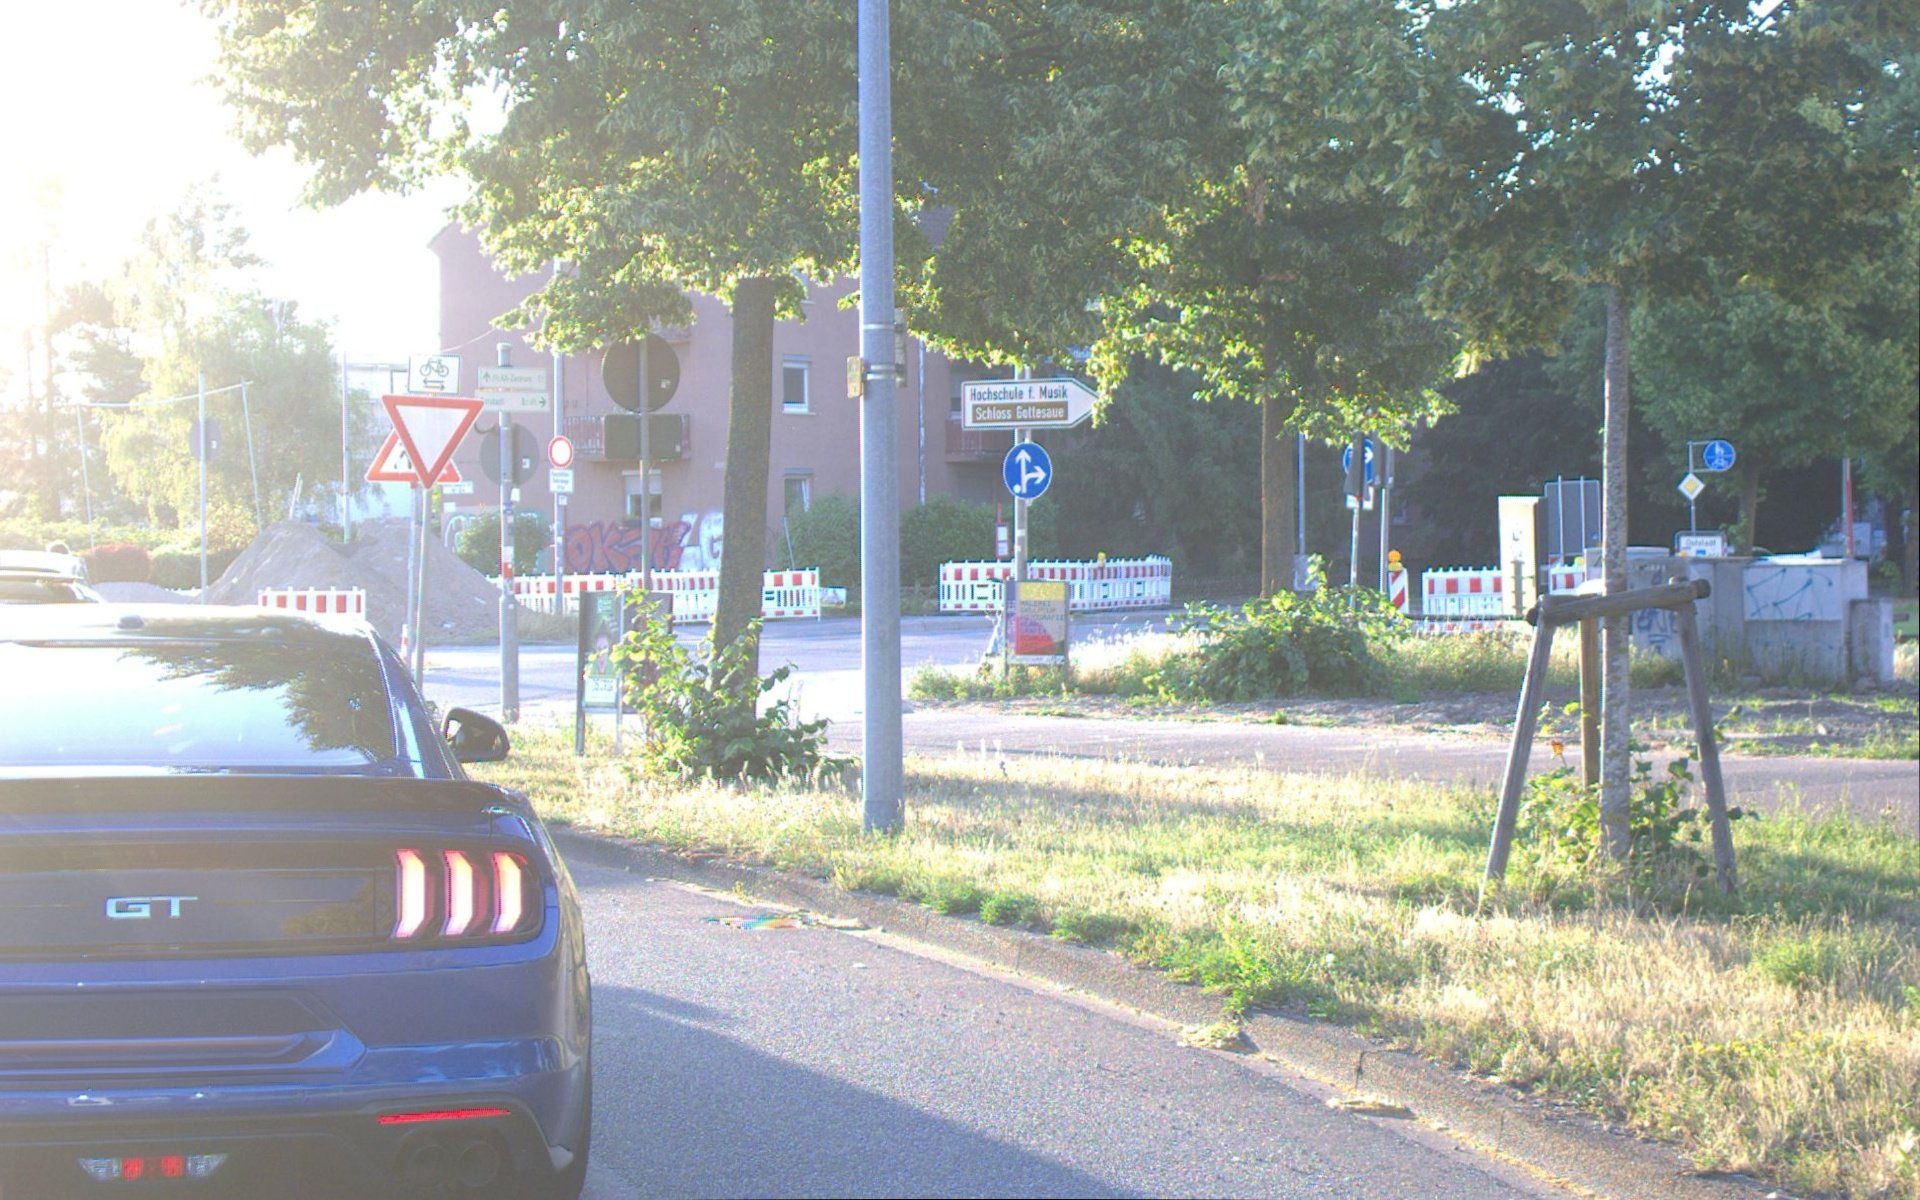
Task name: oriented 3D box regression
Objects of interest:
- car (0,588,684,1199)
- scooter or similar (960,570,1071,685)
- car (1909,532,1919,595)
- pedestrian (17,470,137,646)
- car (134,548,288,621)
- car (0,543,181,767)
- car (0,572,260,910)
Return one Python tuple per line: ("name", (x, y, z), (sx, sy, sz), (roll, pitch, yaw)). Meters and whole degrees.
("car", (-2.129, 0.661, 8.484), (1.950, 1.337, 4.672), (0, 1, -17))
("scooter or similar", (0.605, 0.292, 37.380), (1.119, 1.234, 0.442), (0, 1, -18))
("car", (26.182, -0.940, 88.839), (1.955, 1.597, 4.069), (1, 1, 34))
("pedestrian", (-8.620, -0.413, 33.552), (0.843, 1.680, 0.887), (-1, 1, -37))
("car", (-17.841, -0.378, 81.775), (1.994, 1.700, 3.999), (-1, 1, -39))
("car", (-7.119, 0.364, 26.516), (1.951, 1.597, 4.078), (0, 1, -10))
("car", (-4.879, 0.572, 16.591), (1.951, 1.422, 4.430), (1, 0, -25))
